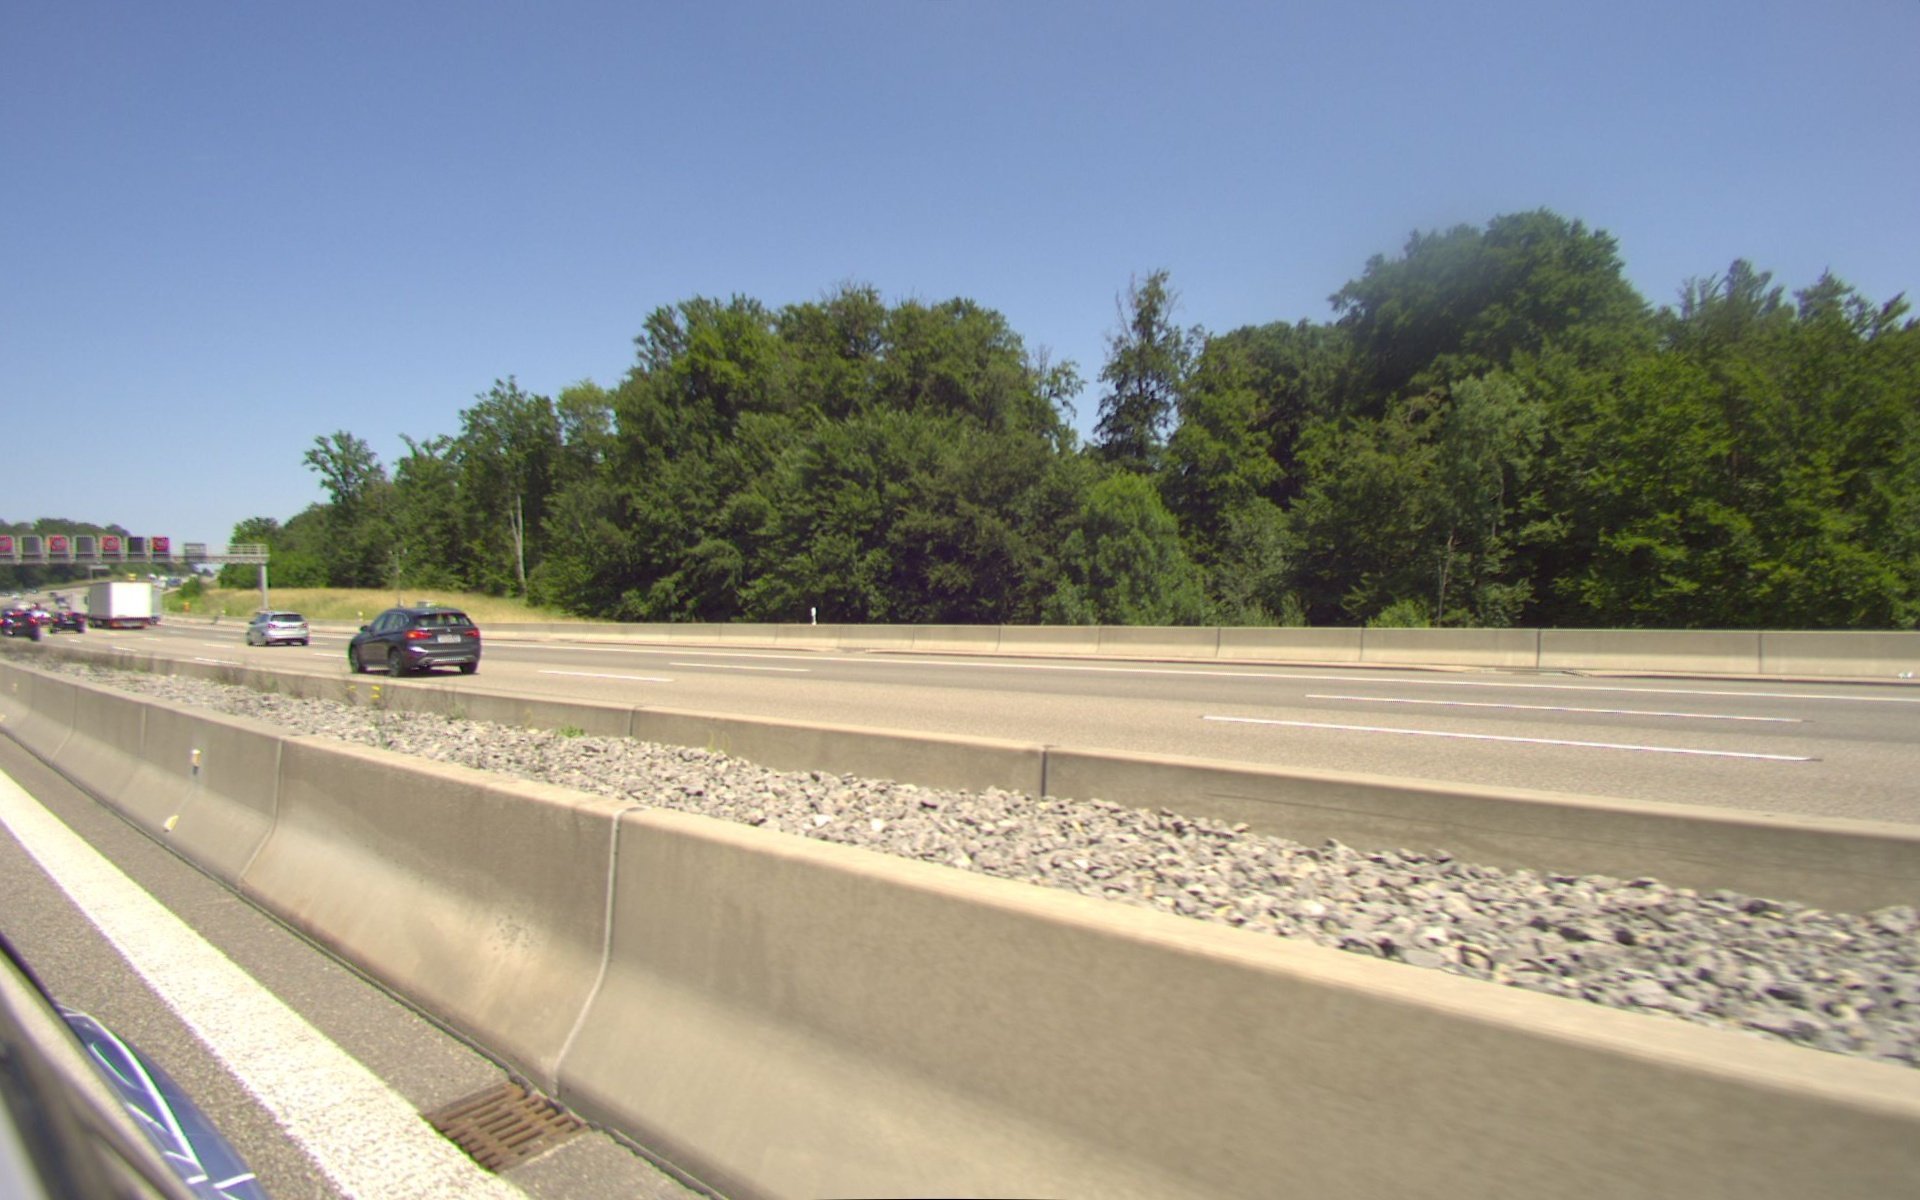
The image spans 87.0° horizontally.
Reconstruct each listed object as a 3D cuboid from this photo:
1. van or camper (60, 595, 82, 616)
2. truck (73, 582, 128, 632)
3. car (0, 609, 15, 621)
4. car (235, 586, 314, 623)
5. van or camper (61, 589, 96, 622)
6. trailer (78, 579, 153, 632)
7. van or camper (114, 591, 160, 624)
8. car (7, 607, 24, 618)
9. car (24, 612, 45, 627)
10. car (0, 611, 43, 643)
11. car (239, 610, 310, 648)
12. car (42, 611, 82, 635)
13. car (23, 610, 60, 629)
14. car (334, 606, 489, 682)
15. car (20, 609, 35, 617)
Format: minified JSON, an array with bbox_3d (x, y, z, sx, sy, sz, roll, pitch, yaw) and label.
[{"bbox_3d":[-159.006,1.016,181.069,7.761,3.706,2.403,0,0,44],"label":"van or camper"},{"bbox_3d":[-77.689,0.627,91.425,6.450,4.322,2.846,-1,0,41],"label":"truck"},{"bbox_3d":[-129.640,2.022,137.248,1.970,1.602,4.847,0,0,-44],"label":"car"},{"bbox_3d":[-31.694,0.218,46.745,4.376,1.543,1.973,-2,0,41],"label":"car"},{"bbox_3d":[-111.724,0.644,128.179,2.797,3.867,8.220,-2,2,-45],"label":"van or camper"},{"bbox_3d":[-72.977,0.519,87.313,13.953,4.294,2.834,-1,0,41],"label":"trailer"},{"bbox_3d":[-84.197,0.733,103.490,8.098,3.148,2.733,1,2,44],"label":"van or camper"},{"bbox_3d":[-165.288,2.196,177.070,1.965,1.750,5.348,-2,1,-44],"label":"car"},{"bbox_3d":[-116.682,2.444,127.569,5.121,1.776,1.720,-1,0,45],"label":"car"},{"bbox_3d":[-52.804,1.483,56.459,4.433,1.680,1.972,-1,0,42],"label":"car"},{"bbox_3d":[-31.458,1.309,46.399,4.280,1.617,1.699,-1,0,42],"label":"car"},{"bbox_3d":[-66.204,1.664,74.559,4.361,1.531,1.742,1,2,42],"label":"car"},{"bbox_3d":[-88.621,1.832,97.595,5.031,1.741,2.262,-1,0,43],"label":"car"},{"bbox_3d":[-13.317,1.042,24.432,4.635,1.647,1.736,-2,-1,40],"label":"car"},{"bbox_3d":[-179.539,2.466,194.888,2.024,1.453,5.224,0,0,-44],"label":"car"}]
